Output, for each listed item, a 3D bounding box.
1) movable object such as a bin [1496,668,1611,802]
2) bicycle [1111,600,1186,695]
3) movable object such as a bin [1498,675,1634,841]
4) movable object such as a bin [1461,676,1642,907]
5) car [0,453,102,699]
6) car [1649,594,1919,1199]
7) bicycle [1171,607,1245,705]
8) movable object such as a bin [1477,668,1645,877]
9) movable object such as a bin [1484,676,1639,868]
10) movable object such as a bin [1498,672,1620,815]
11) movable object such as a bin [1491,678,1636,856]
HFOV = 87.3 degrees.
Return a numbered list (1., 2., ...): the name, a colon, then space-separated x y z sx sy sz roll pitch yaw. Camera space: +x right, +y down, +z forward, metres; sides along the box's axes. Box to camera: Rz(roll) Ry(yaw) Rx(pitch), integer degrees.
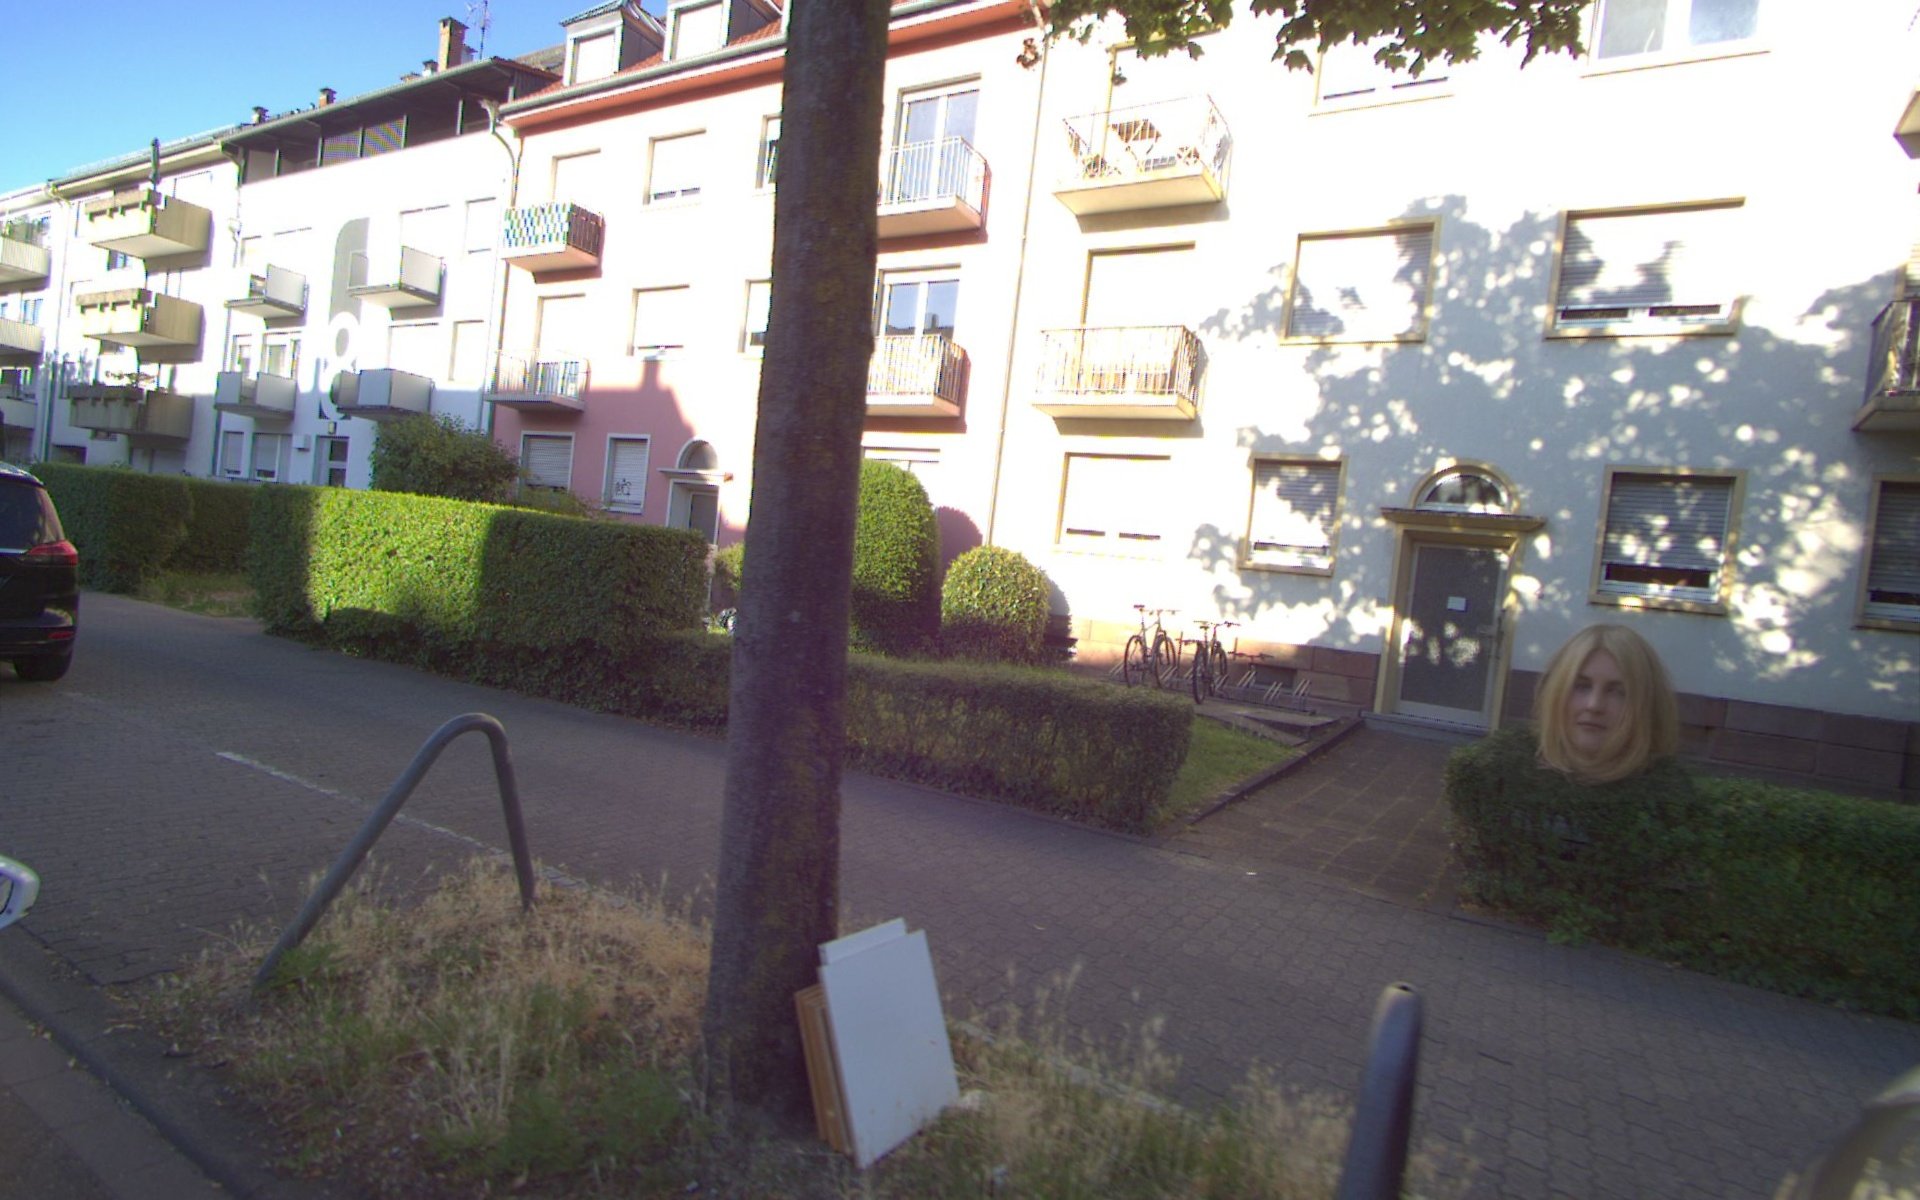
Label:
1. movable object such as a bin: 5.746 1.280 9.768 0.814 1.137 0.553 8 2 31
2. bicycle: 2.370 0.604 12.521 0.418 1.069 1.524 7 0 26
3. movable object such as a bin: 5.065 1.290 8.439 0.814 1.210 0.553 8 2 31
4. movable object such as a bin: 3.741 1.170 6.395 0.814 1.255 0.553 8 2 31
5. car: -8.486 -0.409 7.606 4.219 1.672 1.734 7 1 31
6. car: 2.748 1.000 0.647 3.585 1.570 1.734 7 1 31
7. bicycle: 3.043 0.689 12.264 0.418 1.069 1.651 7 0 26
8. movable object such as a bin: 4.099 1.139 6.896 0.814 1.236 0.553 8 2 31
9. movable object such as a bin: 4.412 1.229 7.410 0.814 1.217 0.553 8 2 31
10. movable object such as a bin: 5.492 1.291 9.254 0.814 1.137 0.553 8 2 31
11. movable object such as a bin: 4.729 1.272 7.912 0.814 1.210 0.553 8 2 31
